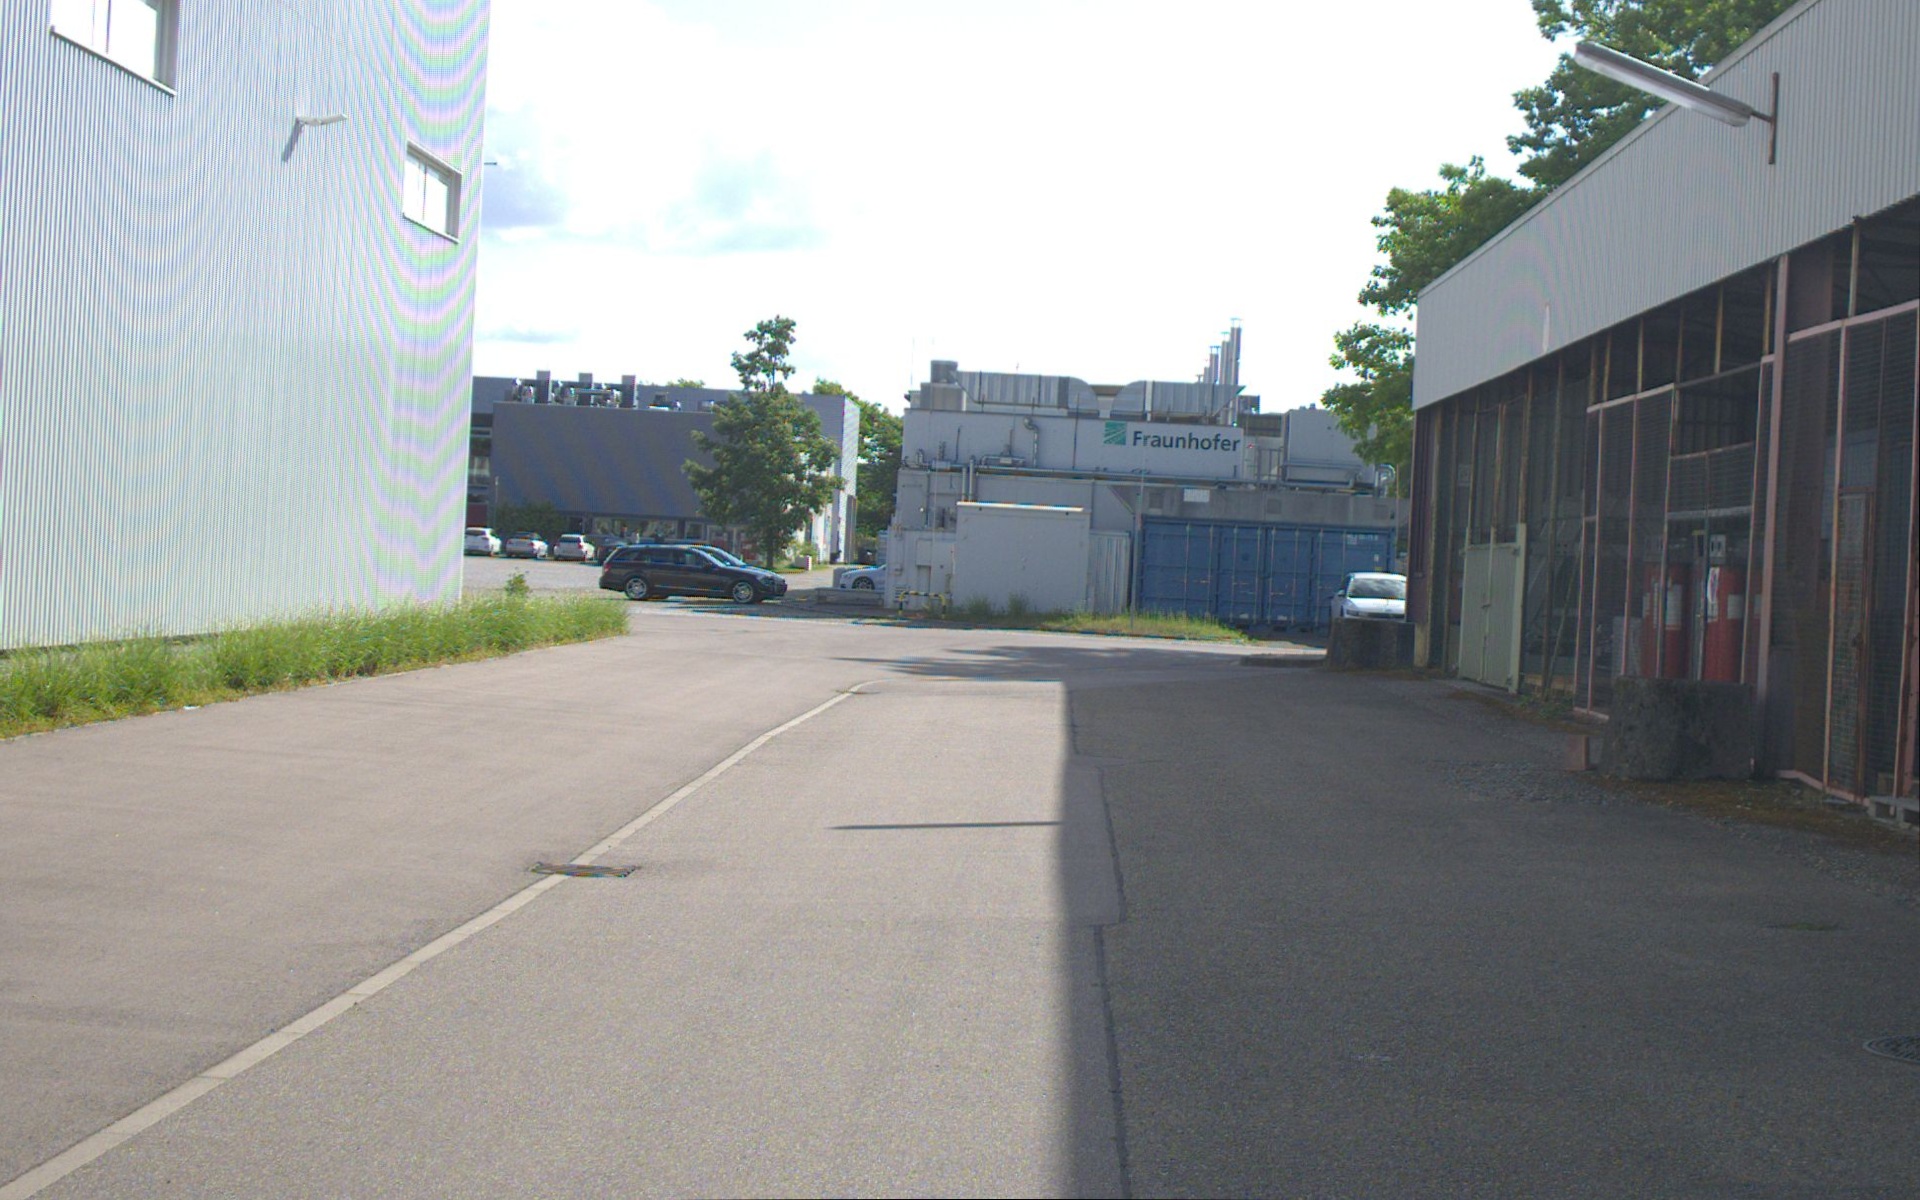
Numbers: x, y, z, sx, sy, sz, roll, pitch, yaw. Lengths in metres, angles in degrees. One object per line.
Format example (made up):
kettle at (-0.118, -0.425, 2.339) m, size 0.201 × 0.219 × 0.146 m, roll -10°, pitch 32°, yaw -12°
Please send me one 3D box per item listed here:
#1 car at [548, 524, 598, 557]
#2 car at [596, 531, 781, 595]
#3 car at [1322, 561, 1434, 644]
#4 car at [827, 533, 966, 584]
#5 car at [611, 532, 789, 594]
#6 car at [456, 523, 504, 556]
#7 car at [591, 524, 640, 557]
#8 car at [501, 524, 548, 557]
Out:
car at (-21.066, -3.227, 187.122) m, size 2.193 × 1.730 × 4.000 m, roll 1°, pitch 0°, yaw 1°
car at (-7.044, -0.971, 89.501) m, size 4.526 × 1.503 × 1.909 m, roll 2°, pitch 1°, yaw 4°
car at (9.232, 0.034, 76.217) m, size 1.993 × 1.580 × 4.173 m, roll 3°, pitch 2°, yaw 1°
car at (-2.141, -1.409, 116.950) m, size 4.526 × 1.503 × 1.909 m, roll 3°, pitch 1°, yaw 3°
car at (-6.990, -0.995, 92.738) m, size 4.526 × 1.503 × 1.909 m, roll 2°, pitch 1°, yaw 4°
car at (-26.147, -3.293, 187.294) m, size 1.993 × 1.730 × 4.000 m, roll 1°, pitch 0°, yaw 1°
car at (-18.556, -3.197, 185.328) m, size 2.193 × 1.730 × 4.000 m, roll 1°, pitch 0°, yaw 1°
car at (-23.660, -3.243, 186.862) m, size 1.993 × 1.730 × 4.000 m, roll 1°, pitch 0°, yaw 1°
